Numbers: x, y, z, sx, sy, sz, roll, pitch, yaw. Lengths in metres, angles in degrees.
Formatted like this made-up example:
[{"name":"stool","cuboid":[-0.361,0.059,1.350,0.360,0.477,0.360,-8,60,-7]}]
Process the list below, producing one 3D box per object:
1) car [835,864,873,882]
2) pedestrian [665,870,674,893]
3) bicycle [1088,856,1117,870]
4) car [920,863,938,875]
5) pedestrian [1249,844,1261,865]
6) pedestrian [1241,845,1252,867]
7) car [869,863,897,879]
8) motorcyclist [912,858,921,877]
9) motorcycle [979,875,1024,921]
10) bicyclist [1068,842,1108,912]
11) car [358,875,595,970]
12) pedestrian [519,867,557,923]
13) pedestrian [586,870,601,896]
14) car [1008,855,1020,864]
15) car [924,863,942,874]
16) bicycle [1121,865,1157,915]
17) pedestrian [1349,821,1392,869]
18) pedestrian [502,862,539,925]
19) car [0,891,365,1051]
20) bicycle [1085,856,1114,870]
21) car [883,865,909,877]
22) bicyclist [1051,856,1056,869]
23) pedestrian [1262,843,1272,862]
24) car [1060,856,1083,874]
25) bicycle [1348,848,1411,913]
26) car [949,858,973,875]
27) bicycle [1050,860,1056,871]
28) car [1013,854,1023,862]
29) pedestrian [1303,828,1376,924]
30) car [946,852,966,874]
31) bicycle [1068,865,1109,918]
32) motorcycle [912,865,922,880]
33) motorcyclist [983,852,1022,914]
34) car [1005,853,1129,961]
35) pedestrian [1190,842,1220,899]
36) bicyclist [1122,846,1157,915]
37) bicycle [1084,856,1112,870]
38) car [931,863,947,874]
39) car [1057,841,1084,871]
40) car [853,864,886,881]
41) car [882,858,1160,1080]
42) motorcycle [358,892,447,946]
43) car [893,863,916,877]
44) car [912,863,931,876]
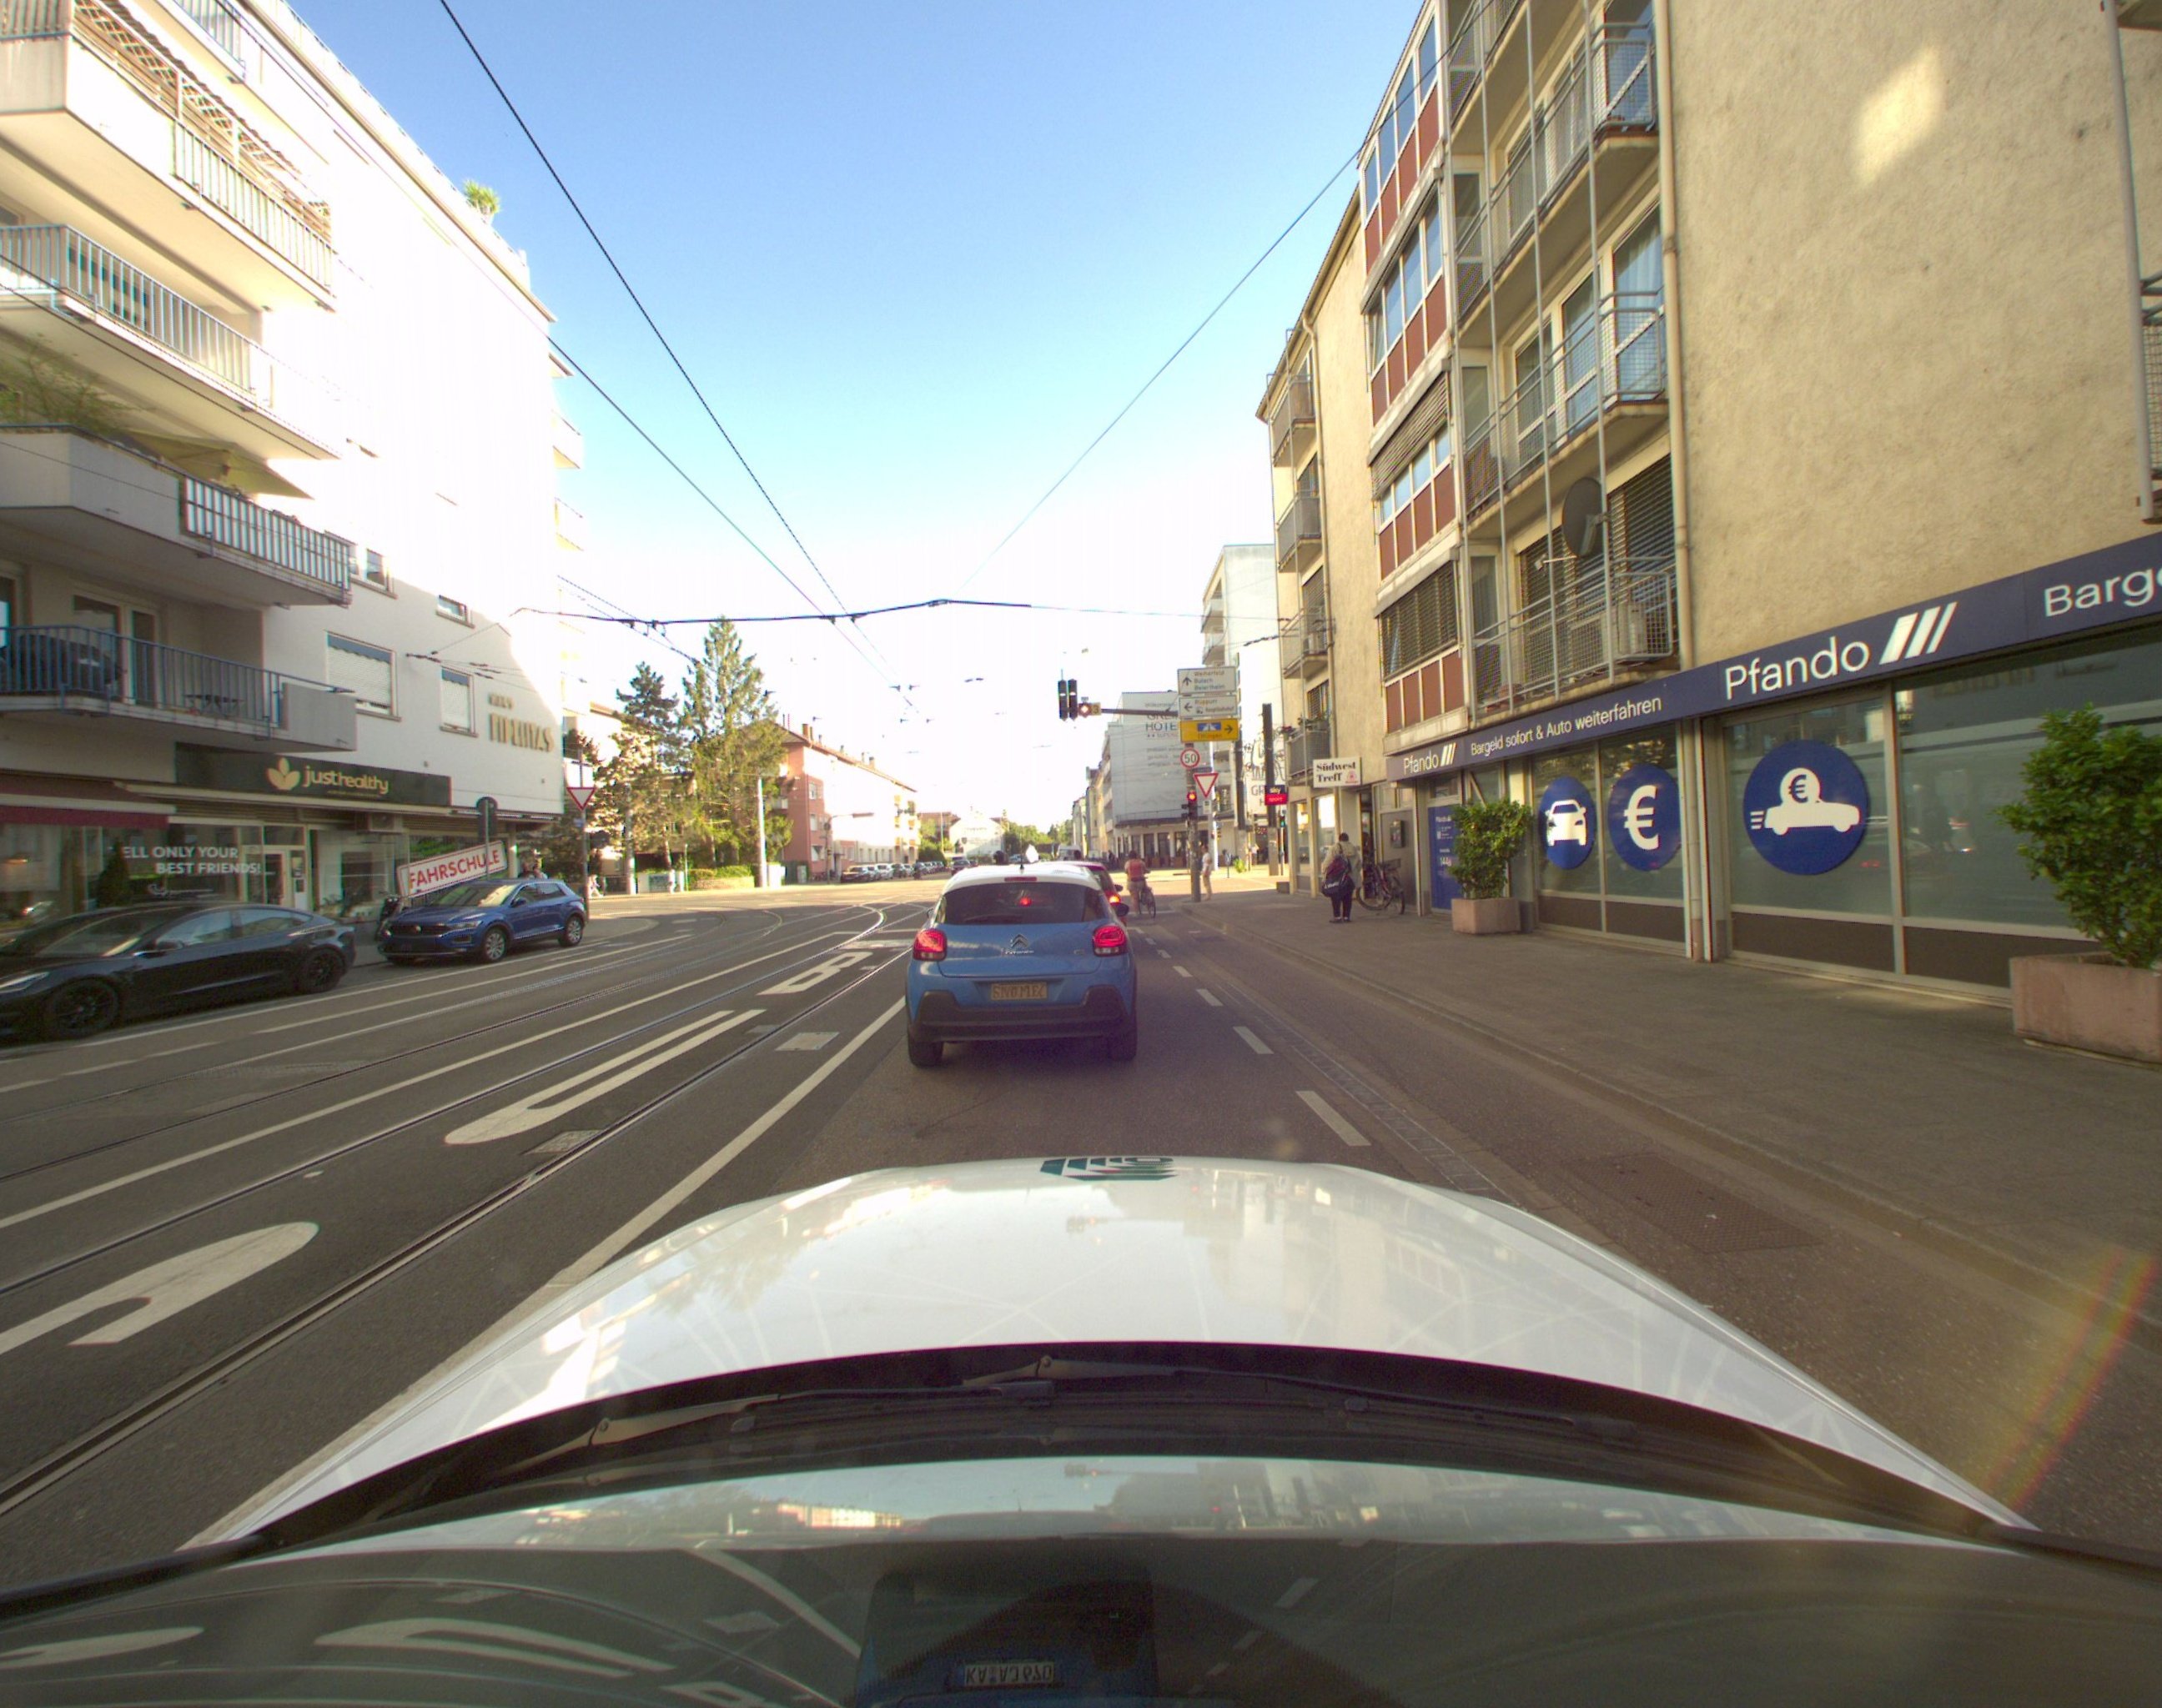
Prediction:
[{"name":"car","cuboid":[-19.375,1.632,69.685,2.149,1.432,4.435,0,-2,-3]},{"name":"pedestrian","cuboid":[-28.186,1.855,55.812,0.519,1.568,0.568,0,-1,-26]},{"name":"bicycle","cuboid":[1.763,0.740,65.936,2.246,1.001,0.855,-4,0,-4]},{"name":"car","cuboid":[-20.251,1.955,108.515,1.865,1.576,3.995,0,-1,-3]},{"name":"pedestrian","cuboid":[13.101,0.042,61.379,0.604,1.608,0.673,-1,-1,44]},{"name":"pedestrian","cuboid":[12.042,0.124,59.226,0.604,1.608,0.673,-1,-1,29]},{"name":"car","cuboid":[-19.417,1.617,80.013,1.737,1.526,4.227,0,0,-1]},{"name":"motorcyclist","cuboid":[-13.648,1.135,67.659,0.694,1.497,0.681,-2,-2,-12]},{"name":"motorcycle","cuboid":[-1.910,1.043,19.820,0.852,1.047,1.943,0,-1,2]},{"name":"bicyclist","cuboid":[0.178,0.566,20.096,0.937,1.673,1.079,0,-1,0]},{"name":"car","cuboid":[-11.826,1.243,16.349,1.765,1.503,4.233,0,1,-4]},{"name":"pedestrian","cuboid":[-18.017,1.363,27.013,0.732,1.792,0.663,-2,0,5]},{"name":"pedestrian","cuboid":[-32.621,1.909,54.492,0.785,1.722,0.699,0,-1,-22]},{"name":"car","cuboid":[-14.037,1.211,171.421,2.212,1.932,4.946,0,-1,-1]},{"name":"car","cuboid":[-20.584,1.997,113.380,1.865,1.576,3.995,0,-1,-3]},{"name":"bicycle","cuboid":[1.496,0.892,20.624,0.807,1.181,2.068,0,-1,6]},{"name":"pedestrian","cuboid":[6.843,-0.206,19.237,0.627,1.087,0.672,-3,1,-36]},{"name":"pedestrian","cuboid":[-17.299,1.217,25.128,0.568,1.900,0.742,-2,-3,16]},{"name":"car","cuboid":[-12.000,1.309,10.430,1.764,1.475,4.443,0,0,-1]},{"name":"bicycle","cuboid":[1.533,0.744,67.309,2.246,1.001,0.855,-4,0,-4]},{"name":"car","cuboid":[-19.625,1.769,86.649,1.942,1.239,4.279,0,0,-2]},{"name":"bicyclist","cuboid":[-4.523,1.419,132.960,0.787,2.024,0.987,0,-1,3]},{"name":"pedestrian","cuboid":[14.473,-0.090,63.241,0.600,1.444,0.558,-1,-1,32]},{"name":"car","cuboid":[-0.827,0.877,68.031,1.654,1.431,3.882,0,-1,-4]},{"name":"bicycle","cuboid":[5.744,0.491,15.757,0.495,1.161,1.776,-2,-1,-1]},{"name":"car","cuboid":[-11.318,1.139,76.887,1.775,1.486,3.824,-3,0,-3]},{"name":"bicycle","cuboid":[-4.524,1.884,132.878,0.787,1.670,2.231,0,-1,3]},{"name":"car","cuboid":[-14.618,0.911,188.448,2.068,1.762,5.034,0,0,-1]},{"name":"pedestrian","cuboid":[4.580,0.375,14.459,0.883,1.592,0.809,-5,1,-7]},{"name":"car","cuboid":[-18.329,1.268,119.782,2.411,3.142,3.487,0,-1,-1]},{"name":"bicycle","cuboid":[0.184,0.889,19.976,0.937,1.223,2.094,0,-1,1]},{"name":"motorcycle","cuboid":[-13.597,1.551,67.469,0.712,1.220,1.957,-2,-2,-12]},{"name":"motorcyclist","cuboid":[-1.912,0.696,19.964,0.852,1.488,0.729,0,-1,1]},{"name":"car","cuboid":[-0.285,0.753,13.600,1.780,1.521,3.758,0,0,-3]},{"name":"pedestrian","cuboid":[3.698,0.495,24.198,0.534,1.623,0.737,-7,-3,23]},{"name":"bicyclist","cuboid":[1.475,0.651,20.452,0.807,1.692,0.937,0,-1,6]},{"name":"bicycle","cuboid":[1.396,0.760,68.426,2.246,1.001,0.855,-4,0,-4]},{"name":"car","cuboid":[-20.784,2.048,119.667,1.865,1.576,3.995,0,-1,-3]},{"name":"car","cuboid":[-0.971,0.190,73.030,2.260,2.482,5.002,-1,0,-3]},{"name":"car","cuboid":[-19.399,1.665,74.847,1.897,1.436,4.102,0,0,0]},{"name":"car","cuboid":[-0.246,0.789,7.282,1.727,1.452,3.670,-1,0,7]},{"name":"motorcycle","cuboid":[-15.773,1.490,19.000,0.605,1.134,1.795,0,-1,-2]},{"name":"car","cuboid":[-20.066,1.828,92.732,1.865,1.576,3.995,0,-1,-3]},{"name":"car","cuboid":[-20.209,1.915,103.478,1.865,1.576,3.995,0,-1,-3]}]
